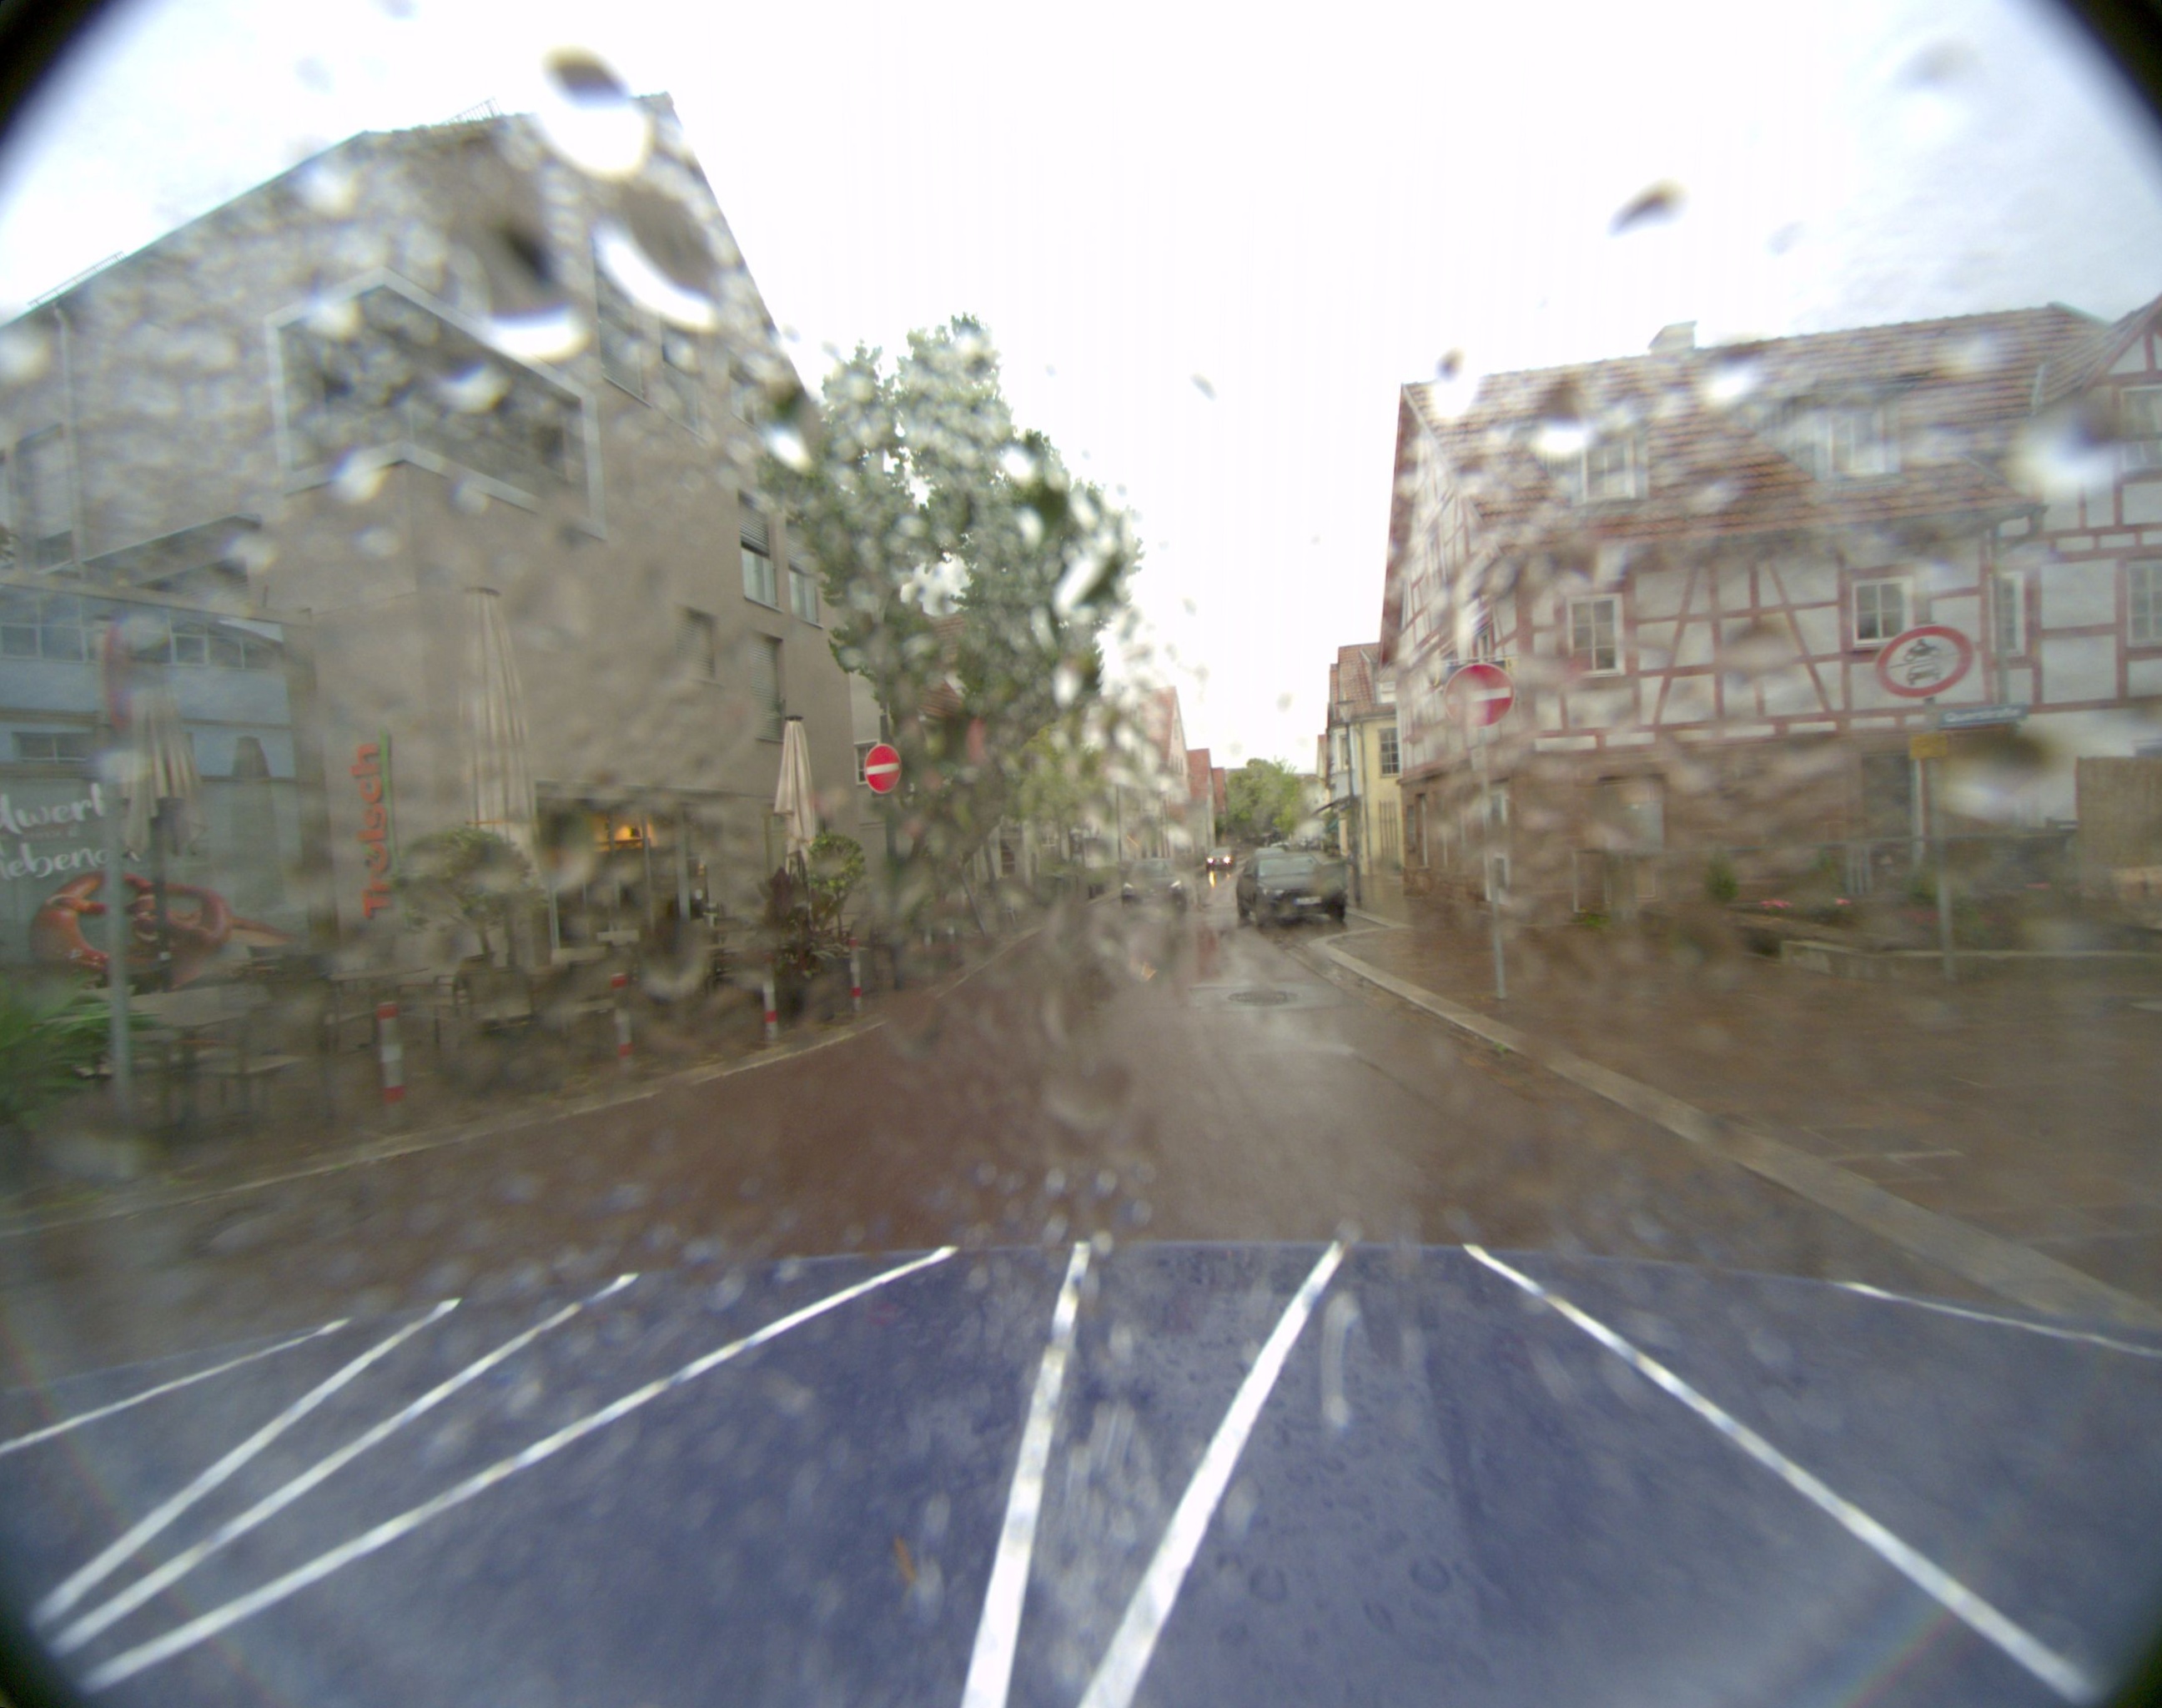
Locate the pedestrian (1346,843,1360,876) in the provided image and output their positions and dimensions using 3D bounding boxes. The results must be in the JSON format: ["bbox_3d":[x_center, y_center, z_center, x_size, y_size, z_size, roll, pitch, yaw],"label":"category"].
[{"bbox_3d":[10.912,0.223,30.482,0.454,1.300,0.518,-2,1,14],"label":"pedestrian"}]

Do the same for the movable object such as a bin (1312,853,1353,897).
[{"bbox_3d":[6.703,0.538,20.299,0.834,1.105,0.919,-3,1,6],"label":"movable object such as a bin"}]

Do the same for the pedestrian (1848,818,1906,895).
[{"bbox_3d":[12.222,0.033,11.674,0.412,1.147,0.424,-3,1,8],"label":"pedestrian"}]

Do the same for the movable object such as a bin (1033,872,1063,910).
[{"bbox_3d":[-0.971,1.093,22.449,0.765,1.068,0.538,-3,1,9],"label":"movable object such as a bin"}]

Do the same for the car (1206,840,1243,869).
[{"bbox_3d":[9.714,0.016,51.334,1.996,1.740,4.004,-2,1,17],"label":"car"}]

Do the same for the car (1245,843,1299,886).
[{"bbox_3d":[8.197,0.409,32.677,1.997,1.520,4.003,-5,0,14],"label":"car"}]

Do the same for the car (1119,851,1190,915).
[{"bbox_3d":[2.108,0.740,21.397,1.735,1.547,3.846,-3,1,7],"label":"car"}]

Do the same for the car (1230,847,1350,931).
[{"bbox_3d":[4.428,0.660,16.694,1.693,1.477,4.001,-5,1,4],"label":"car"}]
